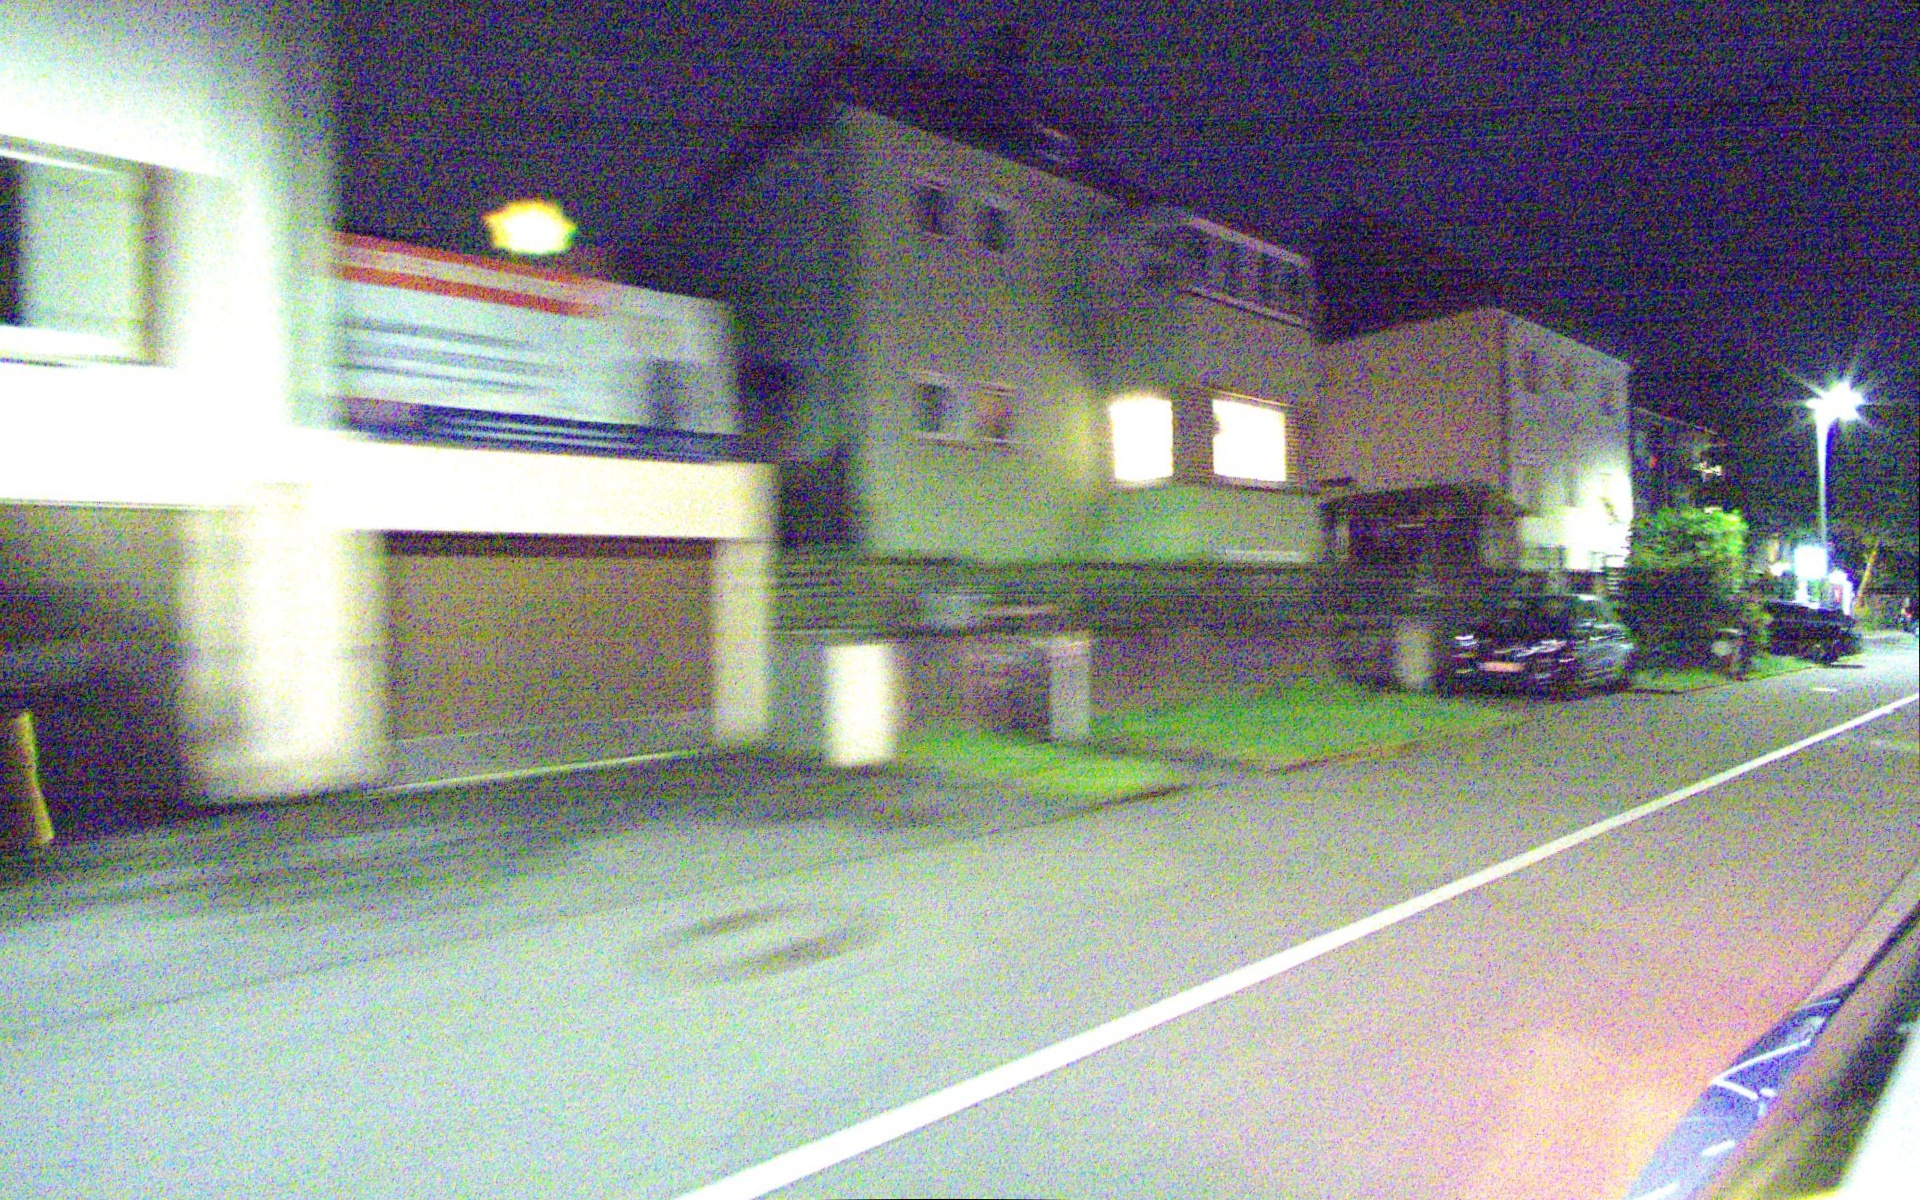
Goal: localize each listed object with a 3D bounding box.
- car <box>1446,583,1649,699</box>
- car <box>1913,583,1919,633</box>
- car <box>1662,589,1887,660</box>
[{"bbox_3d":[9.124,0.541,15.619,3.614,1.579,1.642,0,0,-41],"label":"car"},{"bbox_3d":[37.187,0.310,36.057,1.992,1.839,4.370,0,0,-34],"label":"car"},{"bbox_3d":[19.321,0.515,24.132,1.800,1.504,3.913,0,1,-39],"label":"car"}]
